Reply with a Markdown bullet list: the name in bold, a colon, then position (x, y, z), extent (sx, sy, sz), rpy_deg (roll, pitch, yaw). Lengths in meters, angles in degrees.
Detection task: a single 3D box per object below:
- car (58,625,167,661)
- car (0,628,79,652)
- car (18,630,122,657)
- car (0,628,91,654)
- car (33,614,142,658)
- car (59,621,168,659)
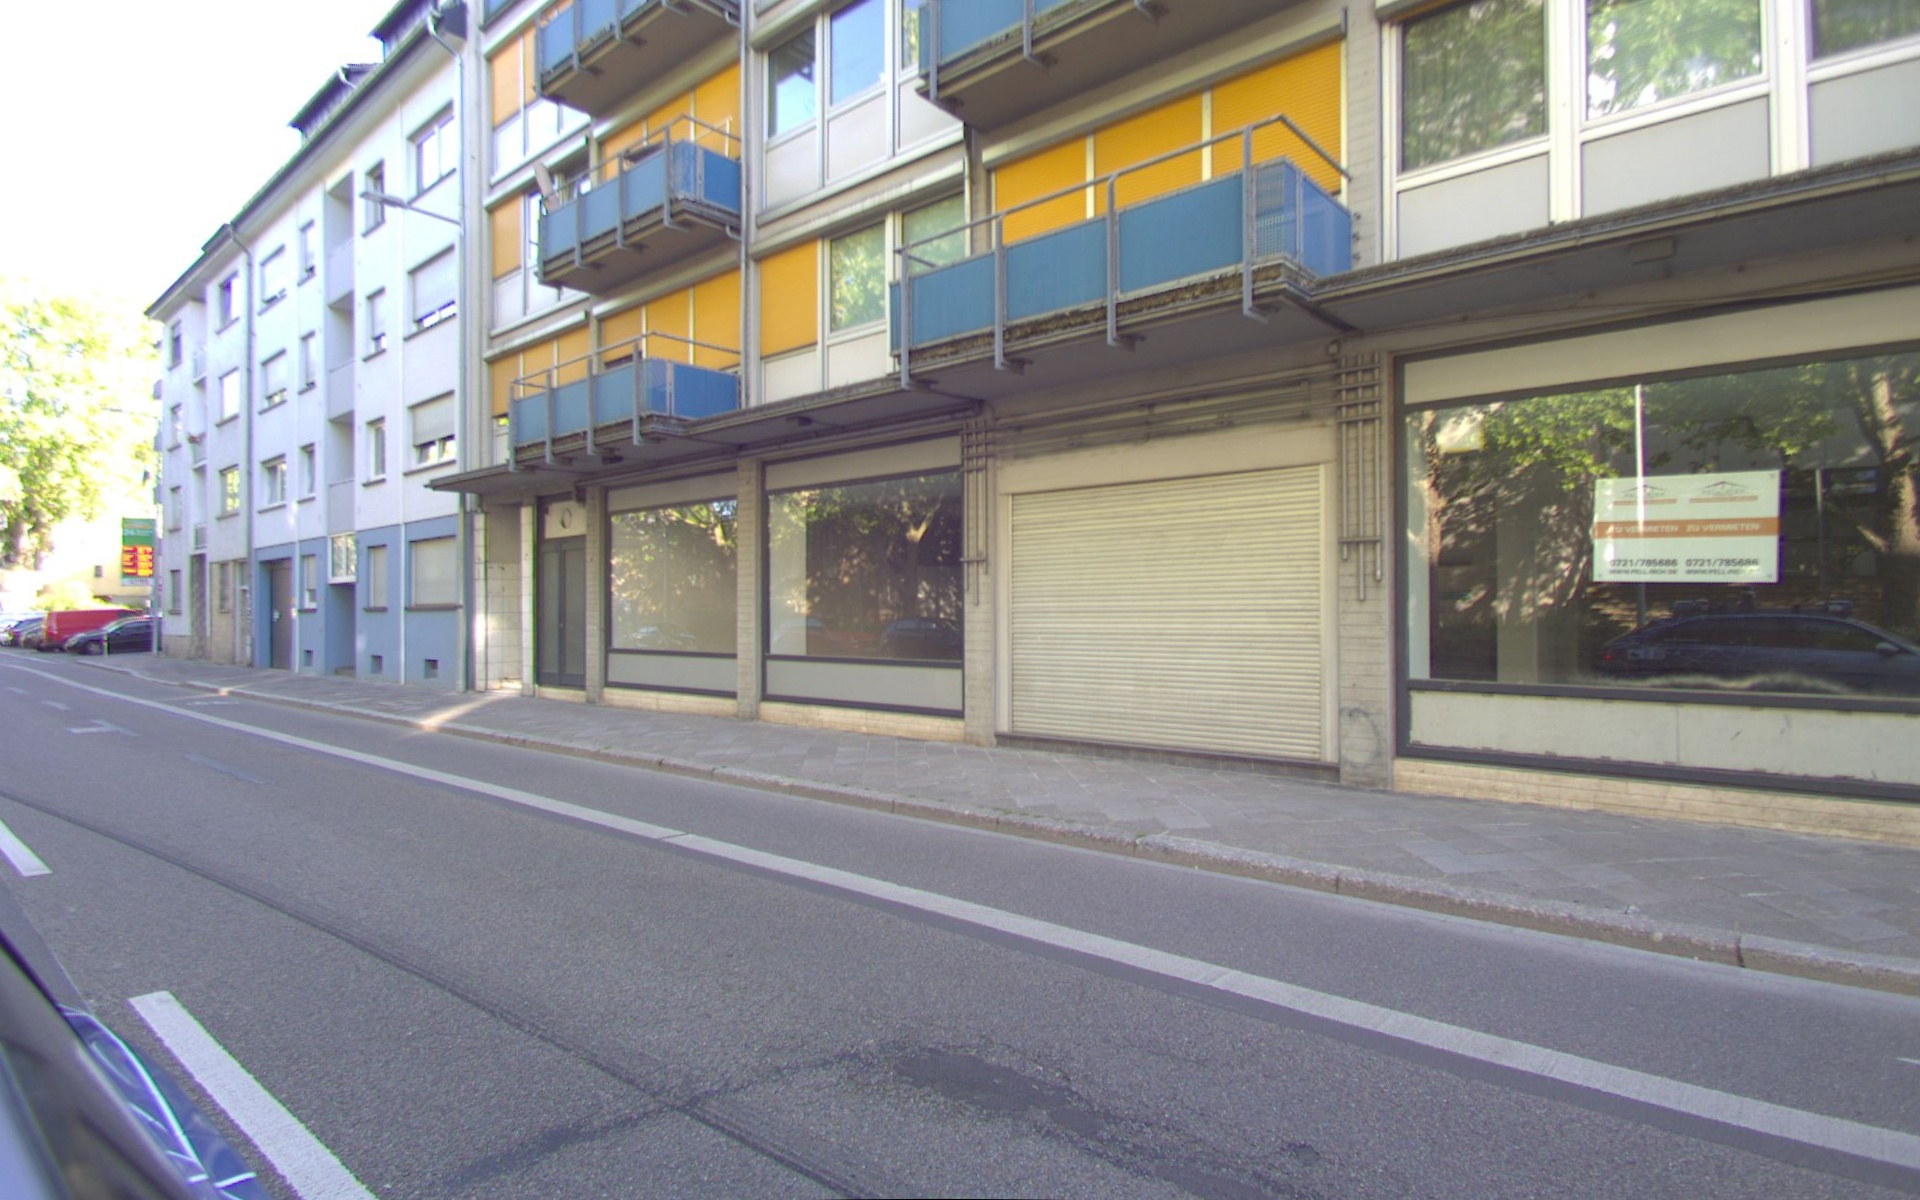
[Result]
- **car**: position (-36.686, 1.813, 43.847), extent (1.490, 1.398, 3.462), rpy_deg (-1, 0, 43)
- **car**: position (-52.269, 2.250, 57.509), extent (1.345, 1.254, 3.228), rpy_deg (-1, 0, 43)
- **car**: position (-42.824, 2.075, 48.742), extent (1.345, 1.137, 3.638), rpy_deg (-1, 0, 43)
- **car**: position (-50.455, 2.242, 55.879), extent (1.345, 1.254, 3.638), rpy_deg (-1, 0, 43)
- **car**: position (-40.661, 1.650, 47.227), extent (1.488, 1.923, 3.642), rpy_deg (-4, -2, 39)
- **car**: position (-38.202, 1.770, 45.727), extent (1.490, 1.523, 3.638), rpy_deg (-1, 0, 43)
